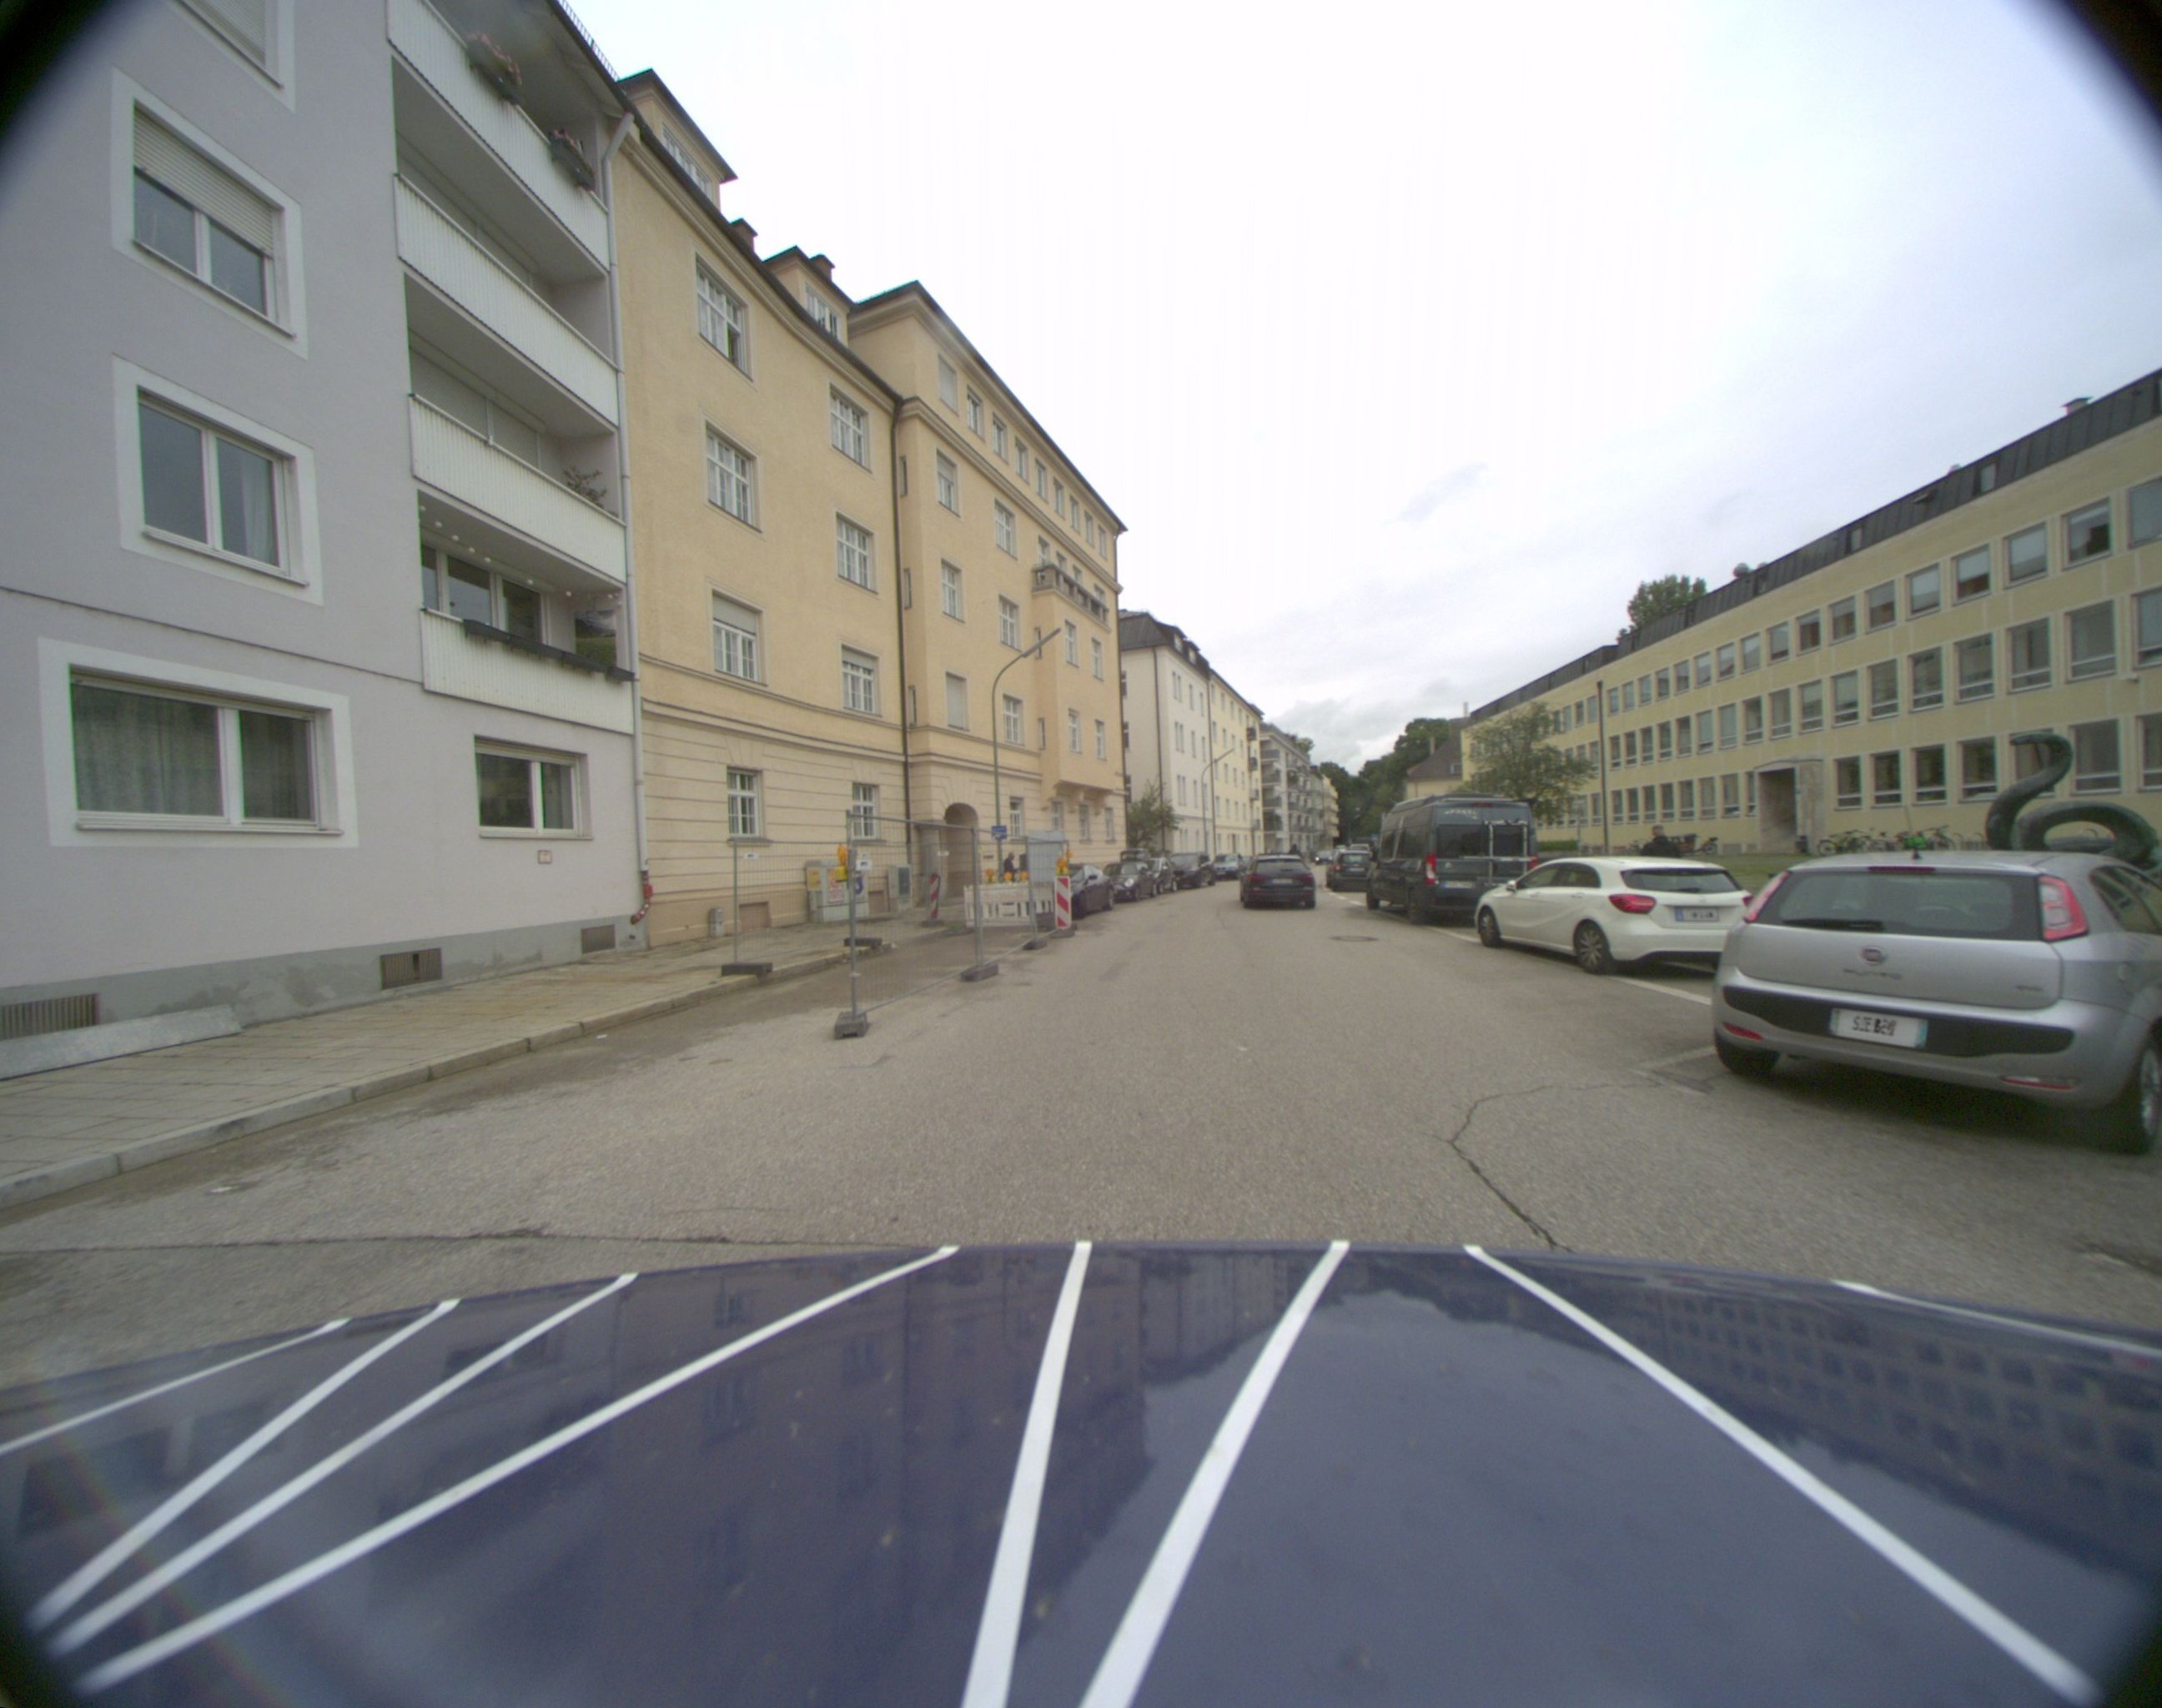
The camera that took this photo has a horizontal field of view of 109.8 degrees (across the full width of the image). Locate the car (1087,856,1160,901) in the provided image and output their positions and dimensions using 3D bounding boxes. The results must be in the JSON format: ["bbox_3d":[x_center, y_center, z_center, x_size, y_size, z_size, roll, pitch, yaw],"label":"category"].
[{"bbox_3d":[1.623,0.840,27.662,1.633,1.409,3.684,-3,0,19],"label":"car"}]

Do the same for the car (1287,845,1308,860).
[{"bbox_3d":[22.789,-0.142,79.887,1.656,1.421,3.761,-3,0,22],"label":"car"}]

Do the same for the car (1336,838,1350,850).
[{"bbox_3d":[46.700,-1.731,135.258,1.855,2.019,4.790,-3,0,23],"label":"car"}]

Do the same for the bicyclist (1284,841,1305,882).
[{"bbox_3d":[9.217,0.327,32.839,0.746,1.761,0.815,0,1,9],"label":"bicyclist"}]

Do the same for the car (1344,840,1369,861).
[{"bbox_3d":[22.335,-0.304,61.626,1.716,1.680,4.147,-1,1,22],"label":"car"}]

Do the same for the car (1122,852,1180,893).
[{"bbox_3d":[3.031,0.771,32.277,1.515,1.545,3.023,-3,0,23],"label":"car"}]

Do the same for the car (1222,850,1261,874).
[{"bbox_3d":[10.827,0.526,51.055,1.829,1.441,4.090,-3,0,22],"label":"car"}]

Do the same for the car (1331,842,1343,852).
[{"bbox_3d":[40.971,-1.130,121.668,1.666,1.459,4.381,-2,1,21],"label":"car"}]

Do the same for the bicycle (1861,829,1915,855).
[{"bbox_3d":[32.097,-0.473,30.245,1.409,0.939,0.415,-4,0,19],"label":"bicycle"}]

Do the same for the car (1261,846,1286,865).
[{"bbox_3d":[16.671,0.096,65.643,1.652,1.534,3.999,-3,0,20],"label":"car"}]

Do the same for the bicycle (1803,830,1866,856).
[{"bbox_3d":[32.068,-0.467,32.351,1.955,0.939,0.414,-4,0,10],"label":"bicycle"}]

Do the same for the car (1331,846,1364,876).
[{"bbox_3d":[14.567,0.340,41.465,1.632,1.486,4.281,-1,1,20],"label":"car"}]

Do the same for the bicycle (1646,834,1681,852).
[{"bbox_3d":[34.488,-0.673,45.014,1.607,0.939,0.503,-4,0,4],"label":"bicycle"}]

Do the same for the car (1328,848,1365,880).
[{"bbox_3d":[13.152,0.448,37.530,1.632,1.486,3.609,0,1,20],"label":"car"}]

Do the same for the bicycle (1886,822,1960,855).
[{"bbox_3d":[31.896,-0.584,28.792,1.849,1.089,0.703,-4,0,6],"label":"bicycle"}]

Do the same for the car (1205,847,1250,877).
[{"bbox_3d":[9.018,0.474,46.563,1.848,1.653,4.504,-3,0,21],"label":"car"}]

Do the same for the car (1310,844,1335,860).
[{"bbox_3d":[24.717,-0.221,77.736,1.996,1.521,4.006,-4,-1,23],"label":"car"}]

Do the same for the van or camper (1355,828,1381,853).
[{"bbox_3d":[31.370,-1.504,83.017,2.294,2.636,5.569,0,1,24],"label":"van or camper"}]

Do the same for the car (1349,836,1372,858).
[{"bbox_3d":[26.214,-0.638,71.194,1.917,1.948,4.968,-1,0,21],"label":"car"}]

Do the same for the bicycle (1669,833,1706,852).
[{"bbox_3d":[34.058,-0.630,42.669,1.608,0.939,0.503,-4,0,-1],"label":"bicycle"}]

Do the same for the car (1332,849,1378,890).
[{"bbox_3d":[10.245,0.551,28.548,1.521,1.457,2.890,0,1,17],"label":"car"}]

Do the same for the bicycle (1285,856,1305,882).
[{"bbox_3d":[9.237,0.615,32.798,0.586,1.063,1.938,0,0,8],"label":"bicycle"}]

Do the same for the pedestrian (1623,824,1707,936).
[{"bbox_3d":[10.203,0.443,13.302,0.845,1.855,0.713,-3,1,-6],"label":"pedestrian"}]

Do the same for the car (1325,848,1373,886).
[{"bbox_3d":[11.355,0.499,32.373,1.776,1.457,4.472,0,1,17],"label":"car"}]

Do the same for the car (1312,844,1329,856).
[{"bbox_3d":[31.812,-0.525,100.848,1.773,1.467,4.223,-3,0,21],"label":"car"}]

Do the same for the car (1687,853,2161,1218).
[{"bbox_3d":[5.875,0.772,4.867,3.815,1.499,1.710,-1,1,-28],"label":"car"}]

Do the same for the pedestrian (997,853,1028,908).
[{"bbox_3d":[-2.169,0.822,24.032,0.617,1.681,0.920,1,2,22],"label":"pedestrian"}]

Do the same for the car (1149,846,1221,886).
[{"bbox_3d":[5.195,0.546,37.280,2.172,1.728,5.031,-3,0,22],"label":"car"}]

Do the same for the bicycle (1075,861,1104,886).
[{"bbox_3d":[0.404,0.850,34.576,0.502,1.043,2.141,1,1,24],"label":"bicycle"}]

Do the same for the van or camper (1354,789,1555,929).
[{"bbox_3d":[7.994,0.072,17.107,2.301,2.566,6.089,-1,1,8],"label":"van or camper"}]

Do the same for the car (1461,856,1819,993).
[{"bbox_3d":[7.154,0.782,10.416,1.998,1.442,4.216,0,1,4],"label":"car"}]

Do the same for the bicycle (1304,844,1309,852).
[{"bbox_3d":[34.342,-0.894,115.628,0.569,1.092,1.813,1,2,24],"label":"bicycle"}]

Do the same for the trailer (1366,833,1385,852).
[{"bbox_3d":[40.186,-1.576,103.675,1.977,2.458,4.584,1,2,26],"label":"trailer"}]

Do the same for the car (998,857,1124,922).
[{"bbox_3d":[-0.399,0.914,21.435,1.911,1.469,4.952,-3,0,18],"label":"car"}]

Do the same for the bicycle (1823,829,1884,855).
[{"bbox_3d":[32.084,-0.501,31.580,1.861,0.939,0.414,-4,0,10],"label":"bicycle"}]

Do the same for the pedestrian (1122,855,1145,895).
[{"bbox_3d":[2.034,0.804,29.458,0.629,1.519,0.579,-3,0,21],"label":"pedestrian"}]

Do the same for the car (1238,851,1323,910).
[{"bbox_3d":[5.492,0.659,21.440,1.923,1.404,4.706,0,1,10],"label":"car"}]

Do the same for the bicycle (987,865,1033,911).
[{"bbox_3d":[-2.092,1.006,22.694,0.637,1.251,1.673,-3,1,21],"label":"bicycle"}]

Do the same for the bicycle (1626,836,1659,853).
[{"bbox_3d":[34.916,-0.573,47.248,1.607,0.939,0.503,-4,0,4],"label":"bicycle"}]
